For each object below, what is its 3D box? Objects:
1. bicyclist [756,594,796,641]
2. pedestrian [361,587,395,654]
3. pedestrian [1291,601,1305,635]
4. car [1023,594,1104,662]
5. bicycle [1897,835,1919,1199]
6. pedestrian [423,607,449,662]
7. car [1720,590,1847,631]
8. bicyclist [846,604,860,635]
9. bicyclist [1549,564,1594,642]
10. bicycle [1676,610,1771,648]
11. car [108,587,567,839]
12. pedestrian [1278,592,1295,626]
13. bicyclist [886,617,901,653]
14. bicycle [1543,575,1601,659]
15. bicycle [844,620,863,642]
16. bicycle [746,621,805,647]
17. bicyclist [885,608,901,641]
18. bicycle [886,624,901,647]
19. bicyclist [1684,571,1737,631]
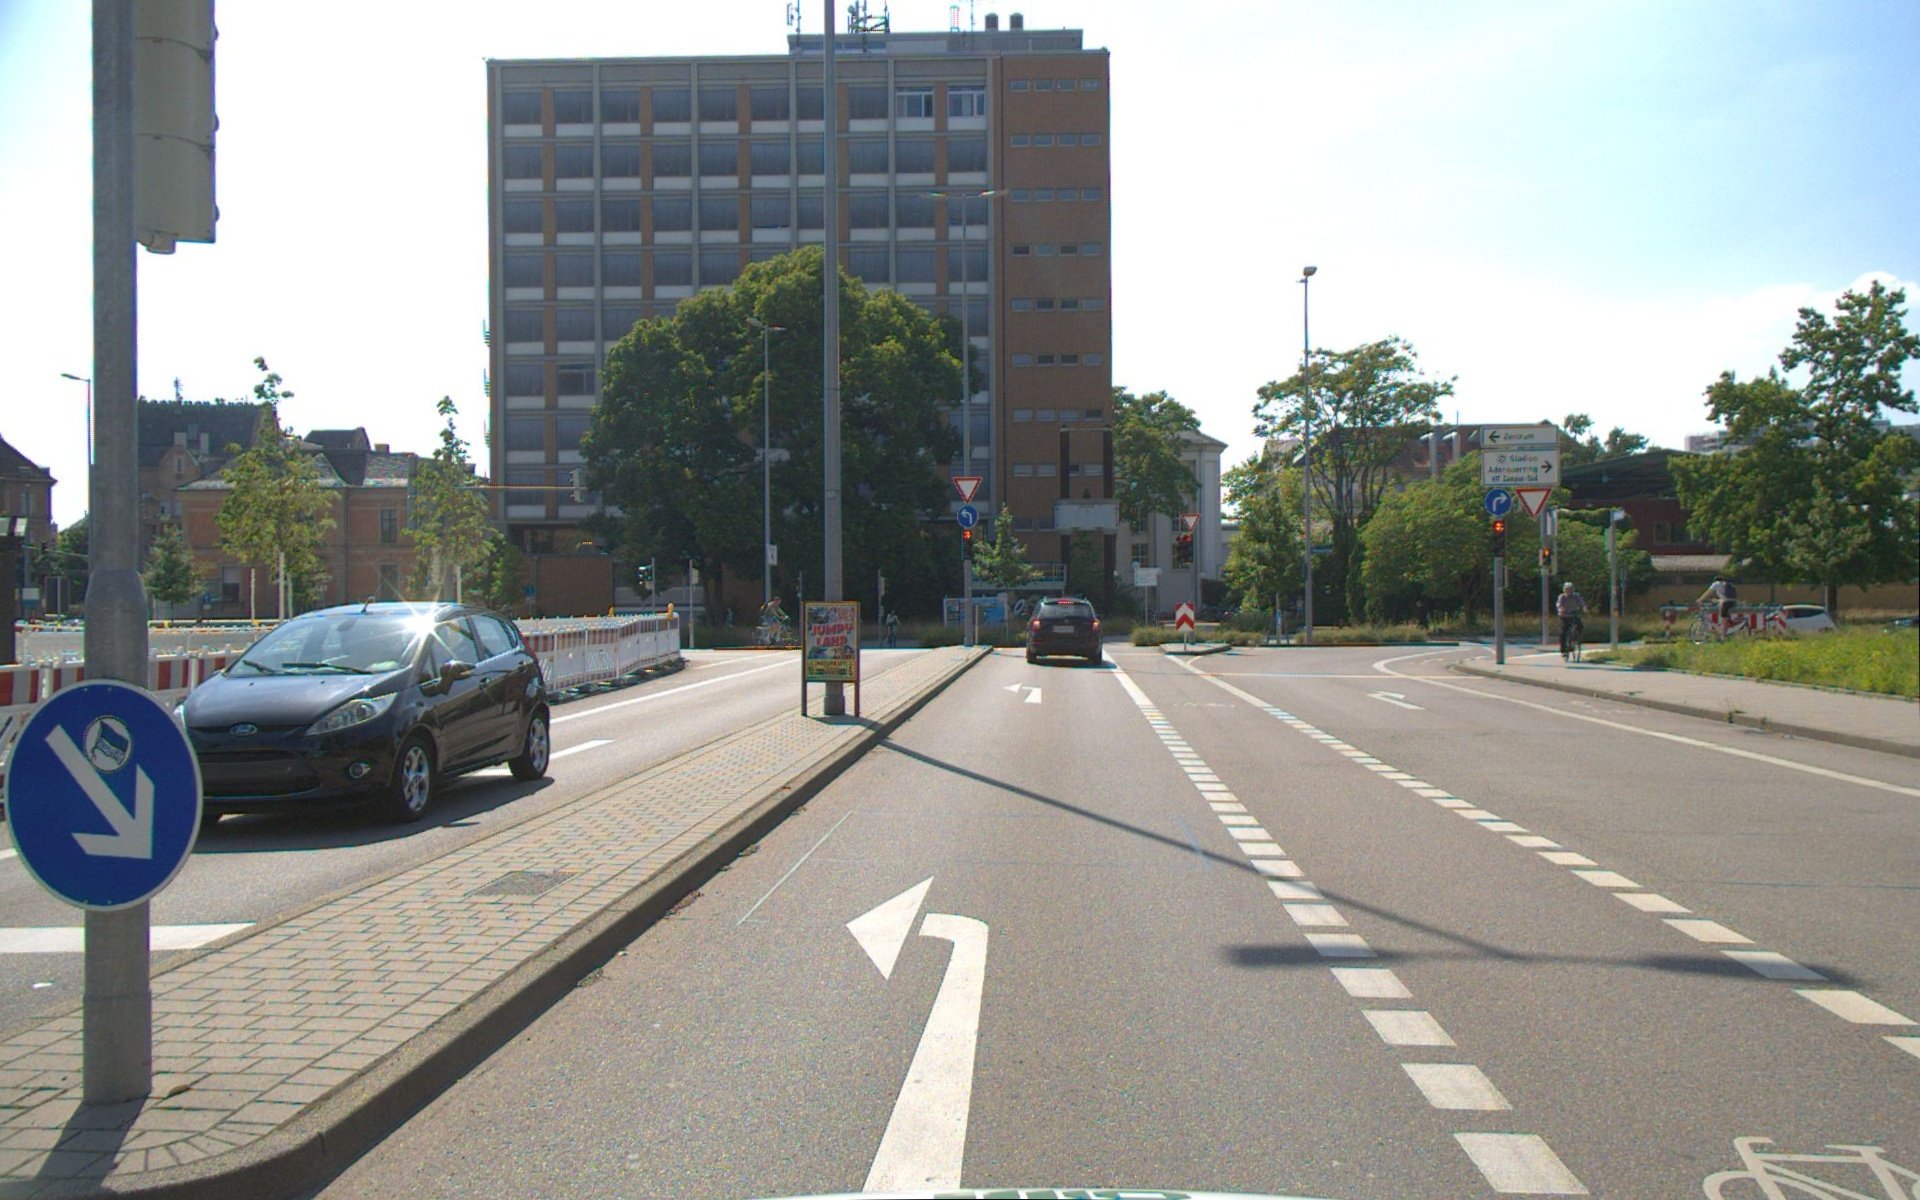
[{"bbox_3d":[-5.986,0.561,53.790,1.140,1.500,0.564,-1,0,16],"label":"bicyclist"},{"bbox_3d":[-15.863,0.559,45.115,0.723,1.783,1.107,-1,-2,-13],"label":"pedestrian"},{"bbox_3d":[18.984,1.016,92.924,0.623,1.907,0.797,-2,0,3],"label":"pedestrian"},{"bbox_3d":[2.389,0.609,38.150,1.742,1.468,3.820,1,0,4],"label":"car"},{"bbox_3d":[2.718,1.071,3.220,0.584,0.948,2.027,0,0,-2],"label":"bicycle"},{"bbox_3d":[-14.789,0.971,46.670,0.620,1.518,0.615,-1,0,-13],"label":"pedestrian"},{"bbox_3d":[31.982,0.428,64.307,3.903,1.490,2.001,-1,-1,3],"label":"car"},{"bbox_3d":[-5.002,0.915,77.386,0.528,1.441,1.030,-2,-1,2],"label":"bicyclist"},{"bbox_3d":[13.542,0.061,36.648,0.664,1.684,0.919,-1,0,3],"label":"bicyclist"},{"bbox_3d":[19.552,0.735,42.405,0.668,0.932,2.138,-1,0,-39],"label":"bicycle"},{"bbox_3d":[-4.250,0.689,11.976,1.631,1.476,3.820,-2,0,4],"label":"car"},{"bbox_3d":[18.577,0.515,94.078,0.777,1.907,0.639,-2,0,17],"label":"pedestrian"},{"bbox_3d":[-3.033,1.599,75.676,0.606,1.609,1.013,-3,0,-1],"label":"bicyclist"},{"bbox_3d":[13.541,0.365,36.627,0.664,1.796,1.812,-1,0,3],"label":"bicycle"},{"bbox_3d":[-4.996,1.468,77.848,0.690,0.994,2.031,-1,0,1],"label":"bicycle"},{"bbox_3d":[-5.999,1.106,53.778,1.850,0.806,0.561,-1,1,16],"label":"bicycle"},{"bbox_3d":[-3.059,1.116,75.680,0.606,1.468,0.920,-3,0,-1],"label":"bicyclist"},{"bbox_3d":[-3.033,1.599,75.676,0.606,0.977,1.967,-3,0,-1],"label":"bicycle"},{"bbox_3d":[19.334,0.028,42.614,0.491,1.496,1.127,2,-1,-39],"label":"bicyclist"}]
